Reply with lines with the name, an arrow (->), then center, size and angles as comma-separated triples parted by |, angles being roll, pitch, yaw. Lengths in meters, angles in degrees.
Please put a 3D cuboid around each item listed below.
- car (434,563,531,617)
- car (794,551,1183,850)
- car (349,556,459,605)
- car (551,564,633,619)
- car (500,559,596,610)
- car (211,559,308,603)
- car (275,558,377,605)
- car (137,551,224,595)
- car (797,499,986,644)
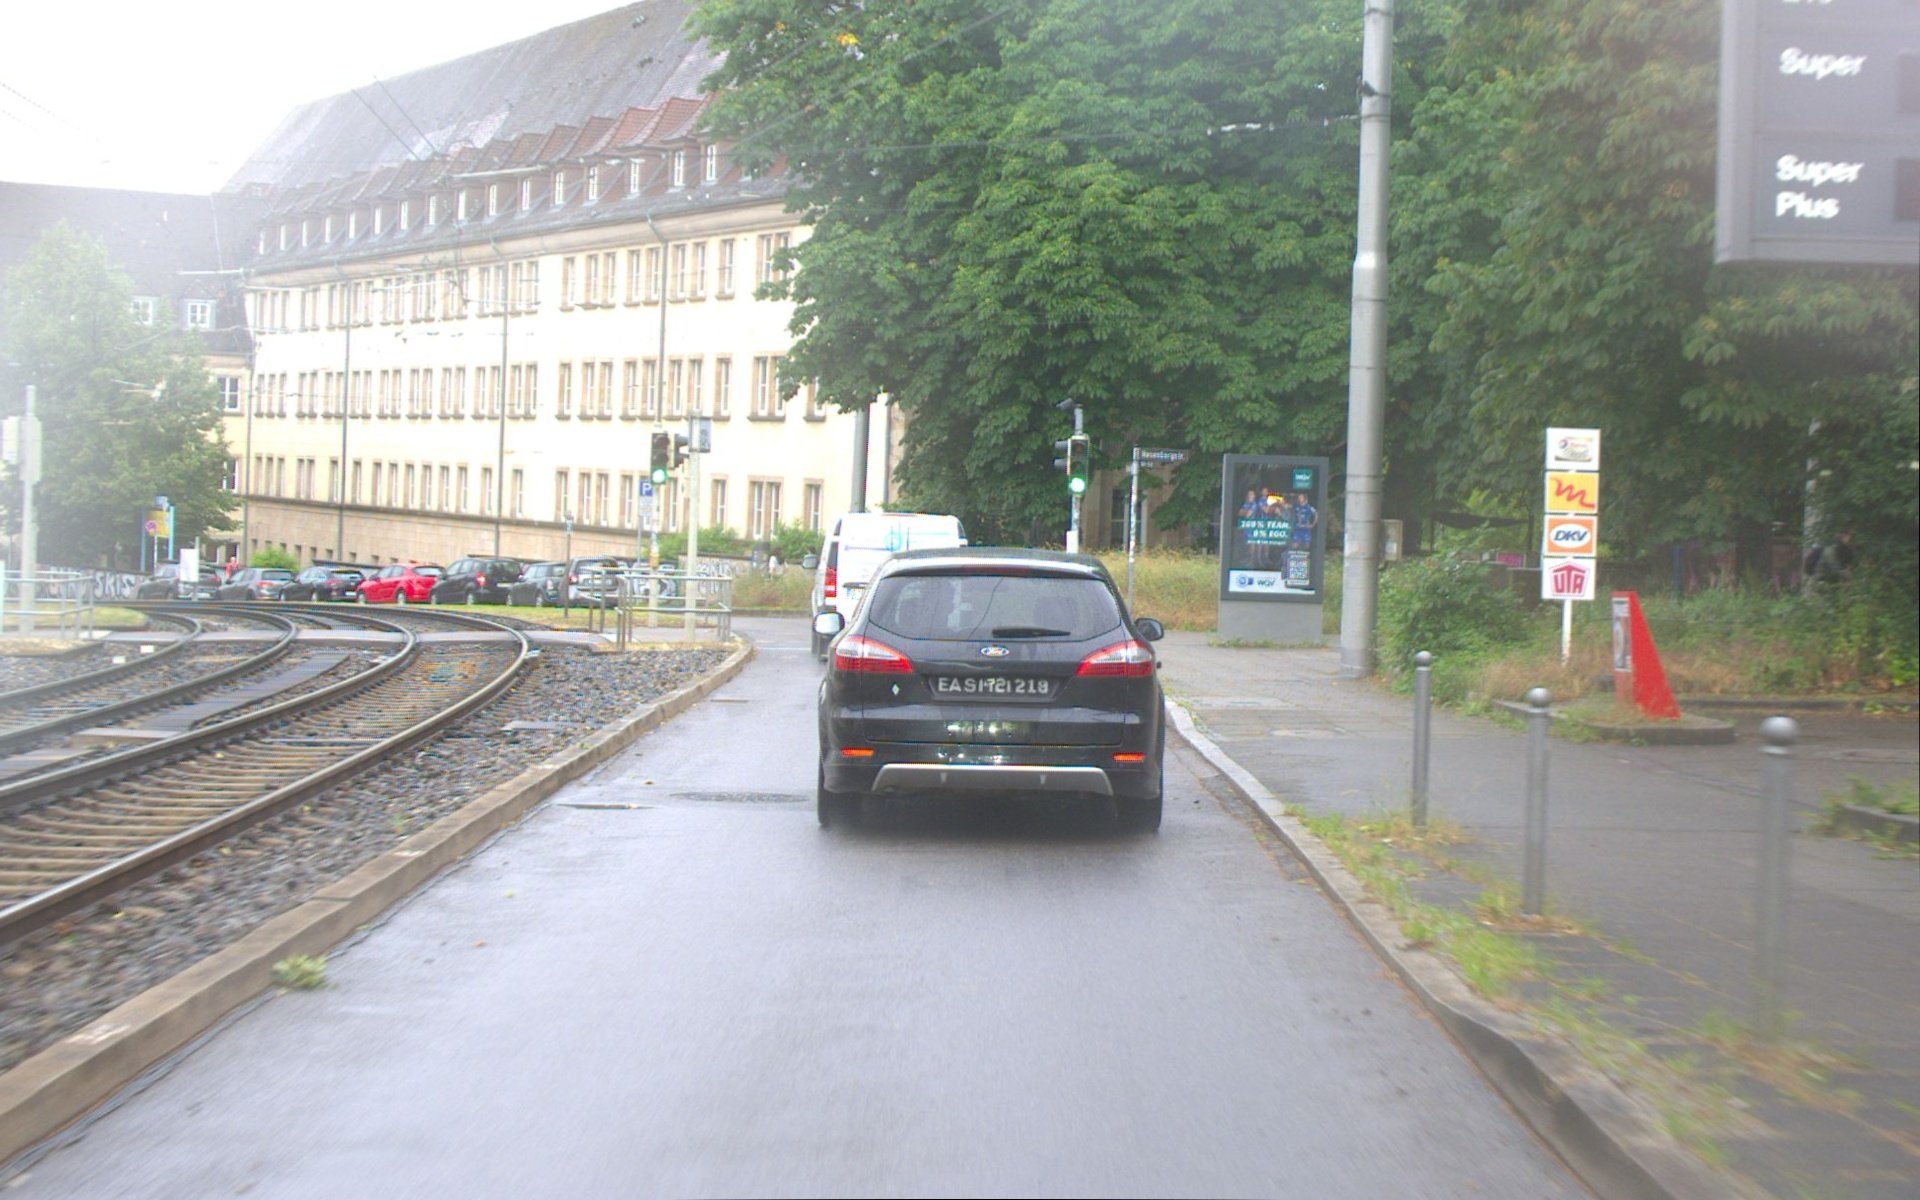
car -> -14.286, -0.301, 102.756 | 1.665, 1.568, 3.856 | -1, 1, -27
car -> 0.118, 0.468, 18.999 | 1.920, 1.474, 4.000 | 0, 1, -1
car -> -17.371, -0.613, 107.314 | 1.666, 1.471, 4.065 | 1, -1, -37
car -> -10.082, -0.239, 94.011 | 1.597, 1.460, 2.721 | -1, 1, -20
car -> -11.739, -0.446, 97.757 | 1.536, 1.411, 3.644 | -1, 1, -27
car -> -23.772, -0.644, 116.633 | 1.666, 1.471, 4.108 | -1, 1, -36
car -> -20.647, -0.616, 111.821 | 1.665, 1.471, 4.457 | -1, 1, -33
car -> -27.586, -0.951, 121.591 | 1.665, 1.519, 4.108 | -1, 1, -33
car -> -0.921, -0.368, 43.373 | 2.136, 1.739, 4.219 | 0, 1, -4
